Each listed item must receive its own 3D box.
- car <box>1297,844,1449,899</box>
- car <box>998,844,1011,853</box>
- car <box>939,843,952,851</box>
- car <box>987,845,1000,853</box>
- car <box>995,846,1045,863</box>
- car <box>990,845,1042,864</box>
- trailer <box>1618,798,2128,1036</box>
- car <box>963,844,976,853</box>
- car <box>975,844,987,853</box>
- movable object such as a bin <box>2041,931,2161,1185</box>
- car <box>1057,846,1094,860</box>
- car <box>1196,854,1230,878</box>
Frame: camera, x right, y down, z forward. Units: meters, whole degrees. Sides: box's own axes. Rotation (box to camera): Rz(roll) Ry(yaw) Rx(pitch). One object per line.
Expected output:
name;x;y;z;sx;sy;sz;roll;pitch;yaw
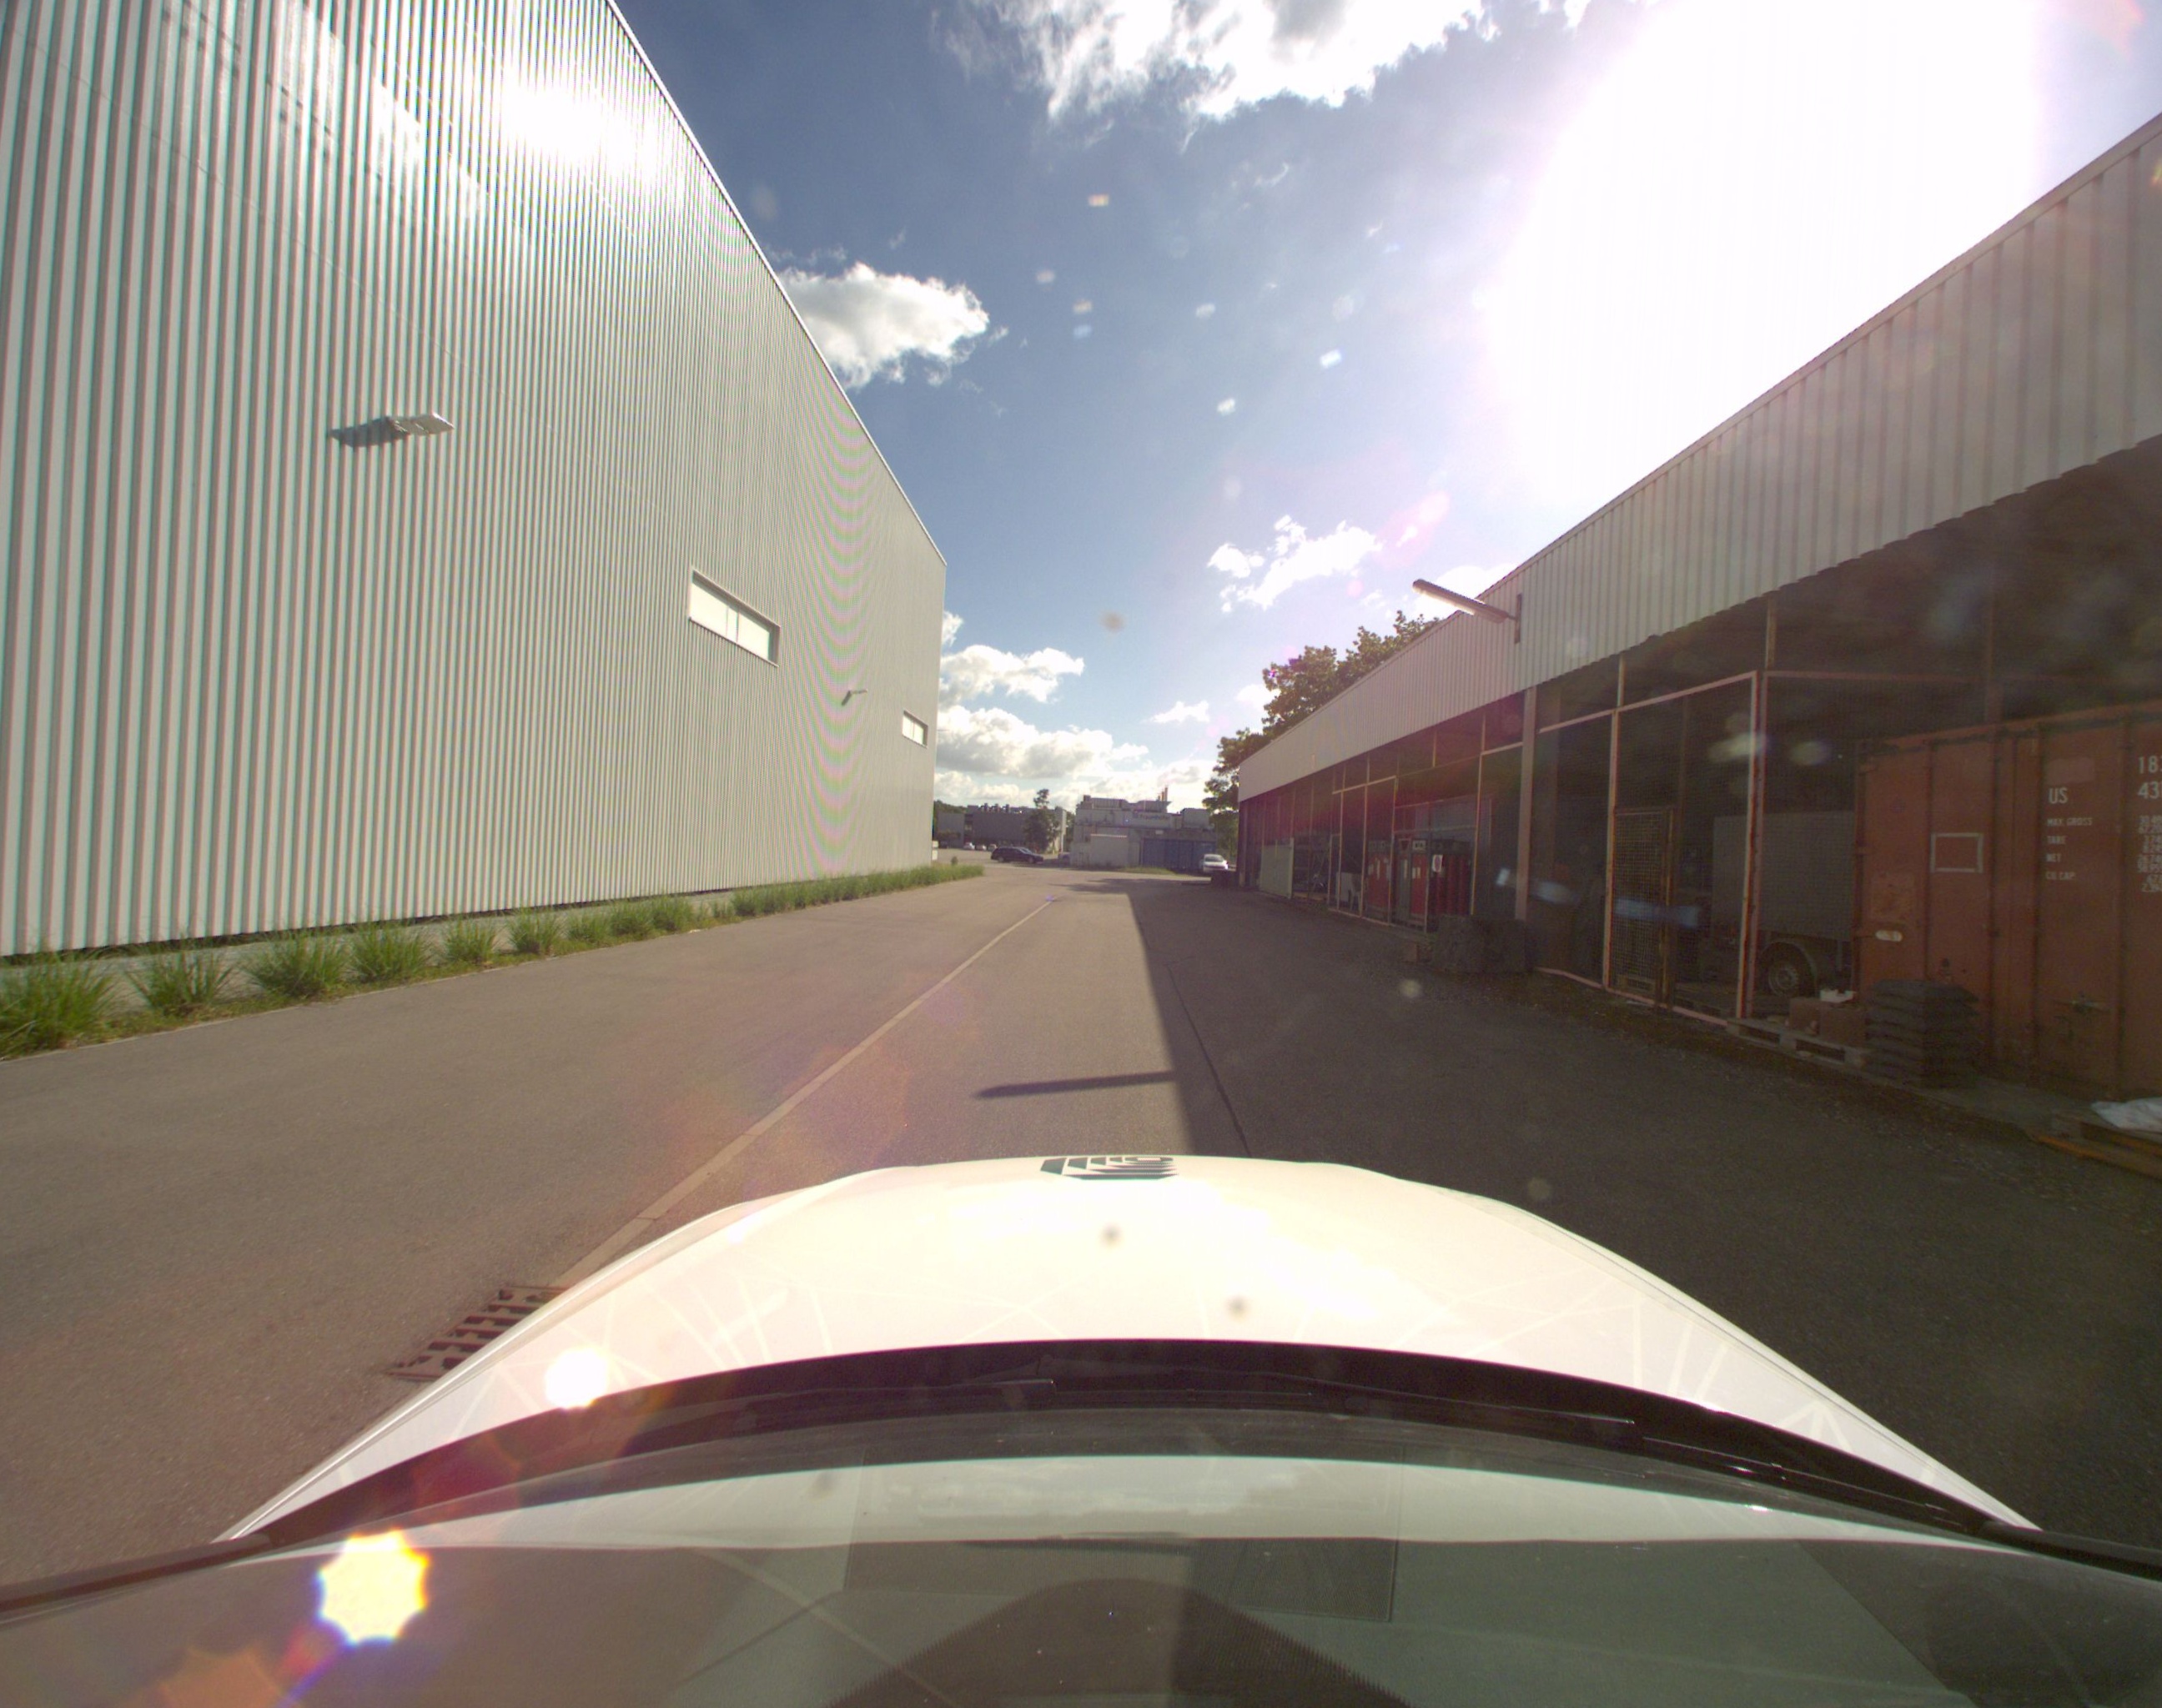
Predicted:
car;11.363;0.663;31.884;5.226;1.876;1.997;2;0;-4
car;-16.136;-1.085;171.193;2.185;1.736;4.001;1;0;2
car;-28.704;-1.443;172.746;1.986;1.736;4.001;1;0;2
car;-18.613;-1.089;172.970;2.185;1.736;4.001;1;0;2
car;-5.883;0.060;78.660;4.506;1.508;1.911;2;0;4
car;-5.982;0.047;75.423;4.506;1.508;1.911;2;0;4
trailer;8.379;0.553;9.279;1.849;2.058;4.100;2;0;1
car;-23.675;-1.142;173.111;1.986;1.736;4.001;1;0;2
car;-21.202;-1.102;172.694;1.986;1.736;4.001;1;0;2
movable object such as a bin;5.462;1.009;3.793;0.578;1.164;1.240;2;0;6
car;-0.716;-0.095;102.906;4.507;1.508;1.910;2;0;3
car;10.060;0.871;62.231;1.986;1.585;4.175;2;2;2
